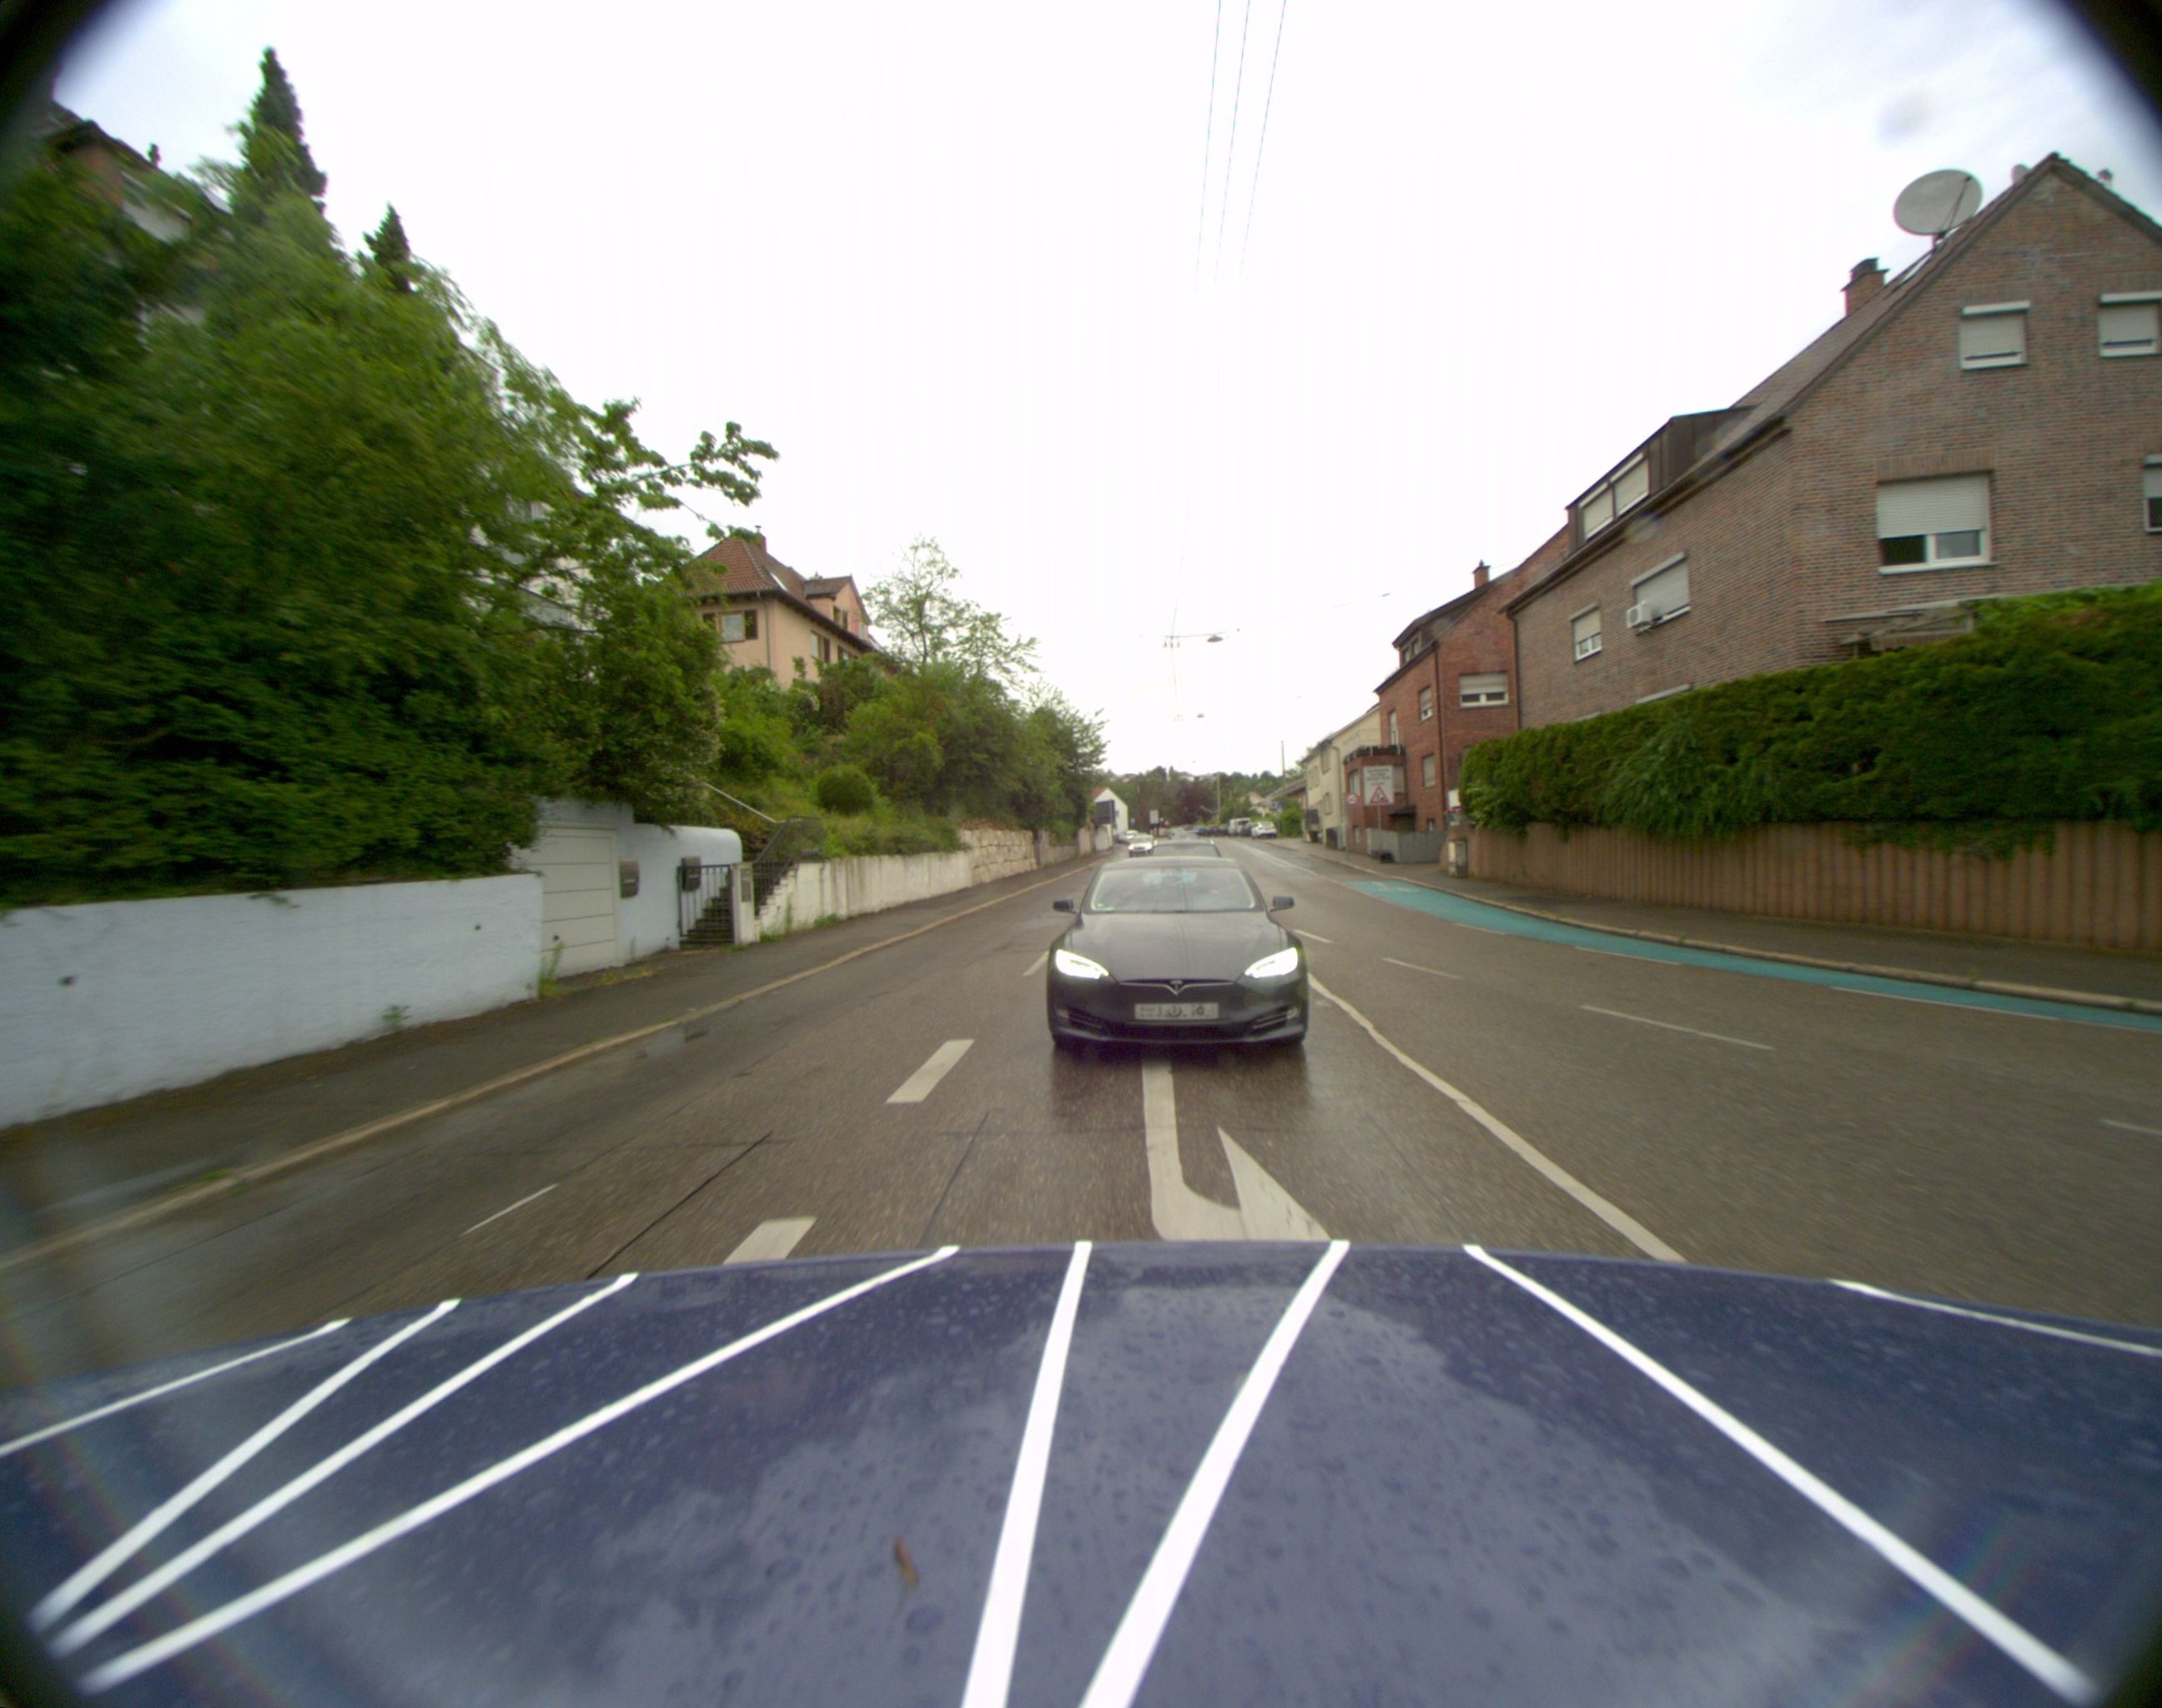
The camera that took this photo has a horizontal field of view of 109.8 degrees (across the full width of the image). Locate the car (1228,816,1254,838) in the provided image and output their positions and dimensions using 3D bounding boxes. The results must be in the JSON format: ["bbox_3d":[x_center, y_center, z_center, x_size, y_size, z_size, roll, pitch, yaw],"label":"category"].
[{"bbox_3d":[18.440,-3.087,87.827,2.011,2.442,4.450,-3,1,1],"label":"car"}]

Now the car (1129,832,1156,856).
[{"bbox_3d":[4.235,-0.699,52.007,1.551,1.443,3.366,-3,2,8],"label":"car"}]

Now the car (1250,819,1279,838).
[{"bbox_3d":[17.792,-2.467,73.816,1.949,1.600,4.451,-3,1,4],"label":"car"}]

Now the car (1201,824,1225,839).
[{"bbox_3d":[17.231,-2.893,99.435,1.773,1.749,4.321,-3,1,-7],"label":"car"}]

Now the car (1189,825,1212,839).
[{"bbox_3d":[16.389,-3.028,104.768,1.773,1.749,4.320,-3,1,-10],"label":"car"}]

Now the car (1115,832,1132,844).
[{"bbox_3d":[5.370,-2.009,96.621,1.615,1.391,3.362,-3,2,-7],"label":"car"}]

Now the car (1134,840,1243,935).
[{"bbox_3d":[2.048,0.575,15.531,1.800,1.600,4.042,-3,1,3],"label":"car"}]

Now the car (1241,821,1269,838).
[{"bbox_3d":[18.339,-2.552,80.424,1.949,1.600,4.450,-3,1,1],"label":"car"}]

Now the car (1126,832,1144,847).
[{"bbox_3d":[5.318,-1.476,75.536,1.614,1.391,3.364,-3,2,3],"label":"car"}]

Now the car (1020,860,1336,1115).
[{"bbox_3d":[0.720,0.834,6.734,1.835,1.384,4.325,-3,1,4],"label":"car"}]

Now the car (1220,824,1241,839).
[{"bbox_3d":[18.343,-2.738,93.447,1.772,1.749,4.323,-3,1,0],"label":"car"}]

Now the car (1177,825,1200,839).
[{"bbox_3d":[15.452,-3.144,109.668,1.774,1.749,4.319,-3,1,-12],"label":"car"}]

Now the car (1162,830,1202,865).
[{"bbox_3d":[5.084,-0.326,38.603,1.757,1.640,4.042,-1,1,4],"label":"car"}]

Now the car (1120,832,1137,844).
[{"bbox_3d":[5.656,-1.923,90.858,1.615,1.391,3.363,-3,2,-2],"label":"car"}]
